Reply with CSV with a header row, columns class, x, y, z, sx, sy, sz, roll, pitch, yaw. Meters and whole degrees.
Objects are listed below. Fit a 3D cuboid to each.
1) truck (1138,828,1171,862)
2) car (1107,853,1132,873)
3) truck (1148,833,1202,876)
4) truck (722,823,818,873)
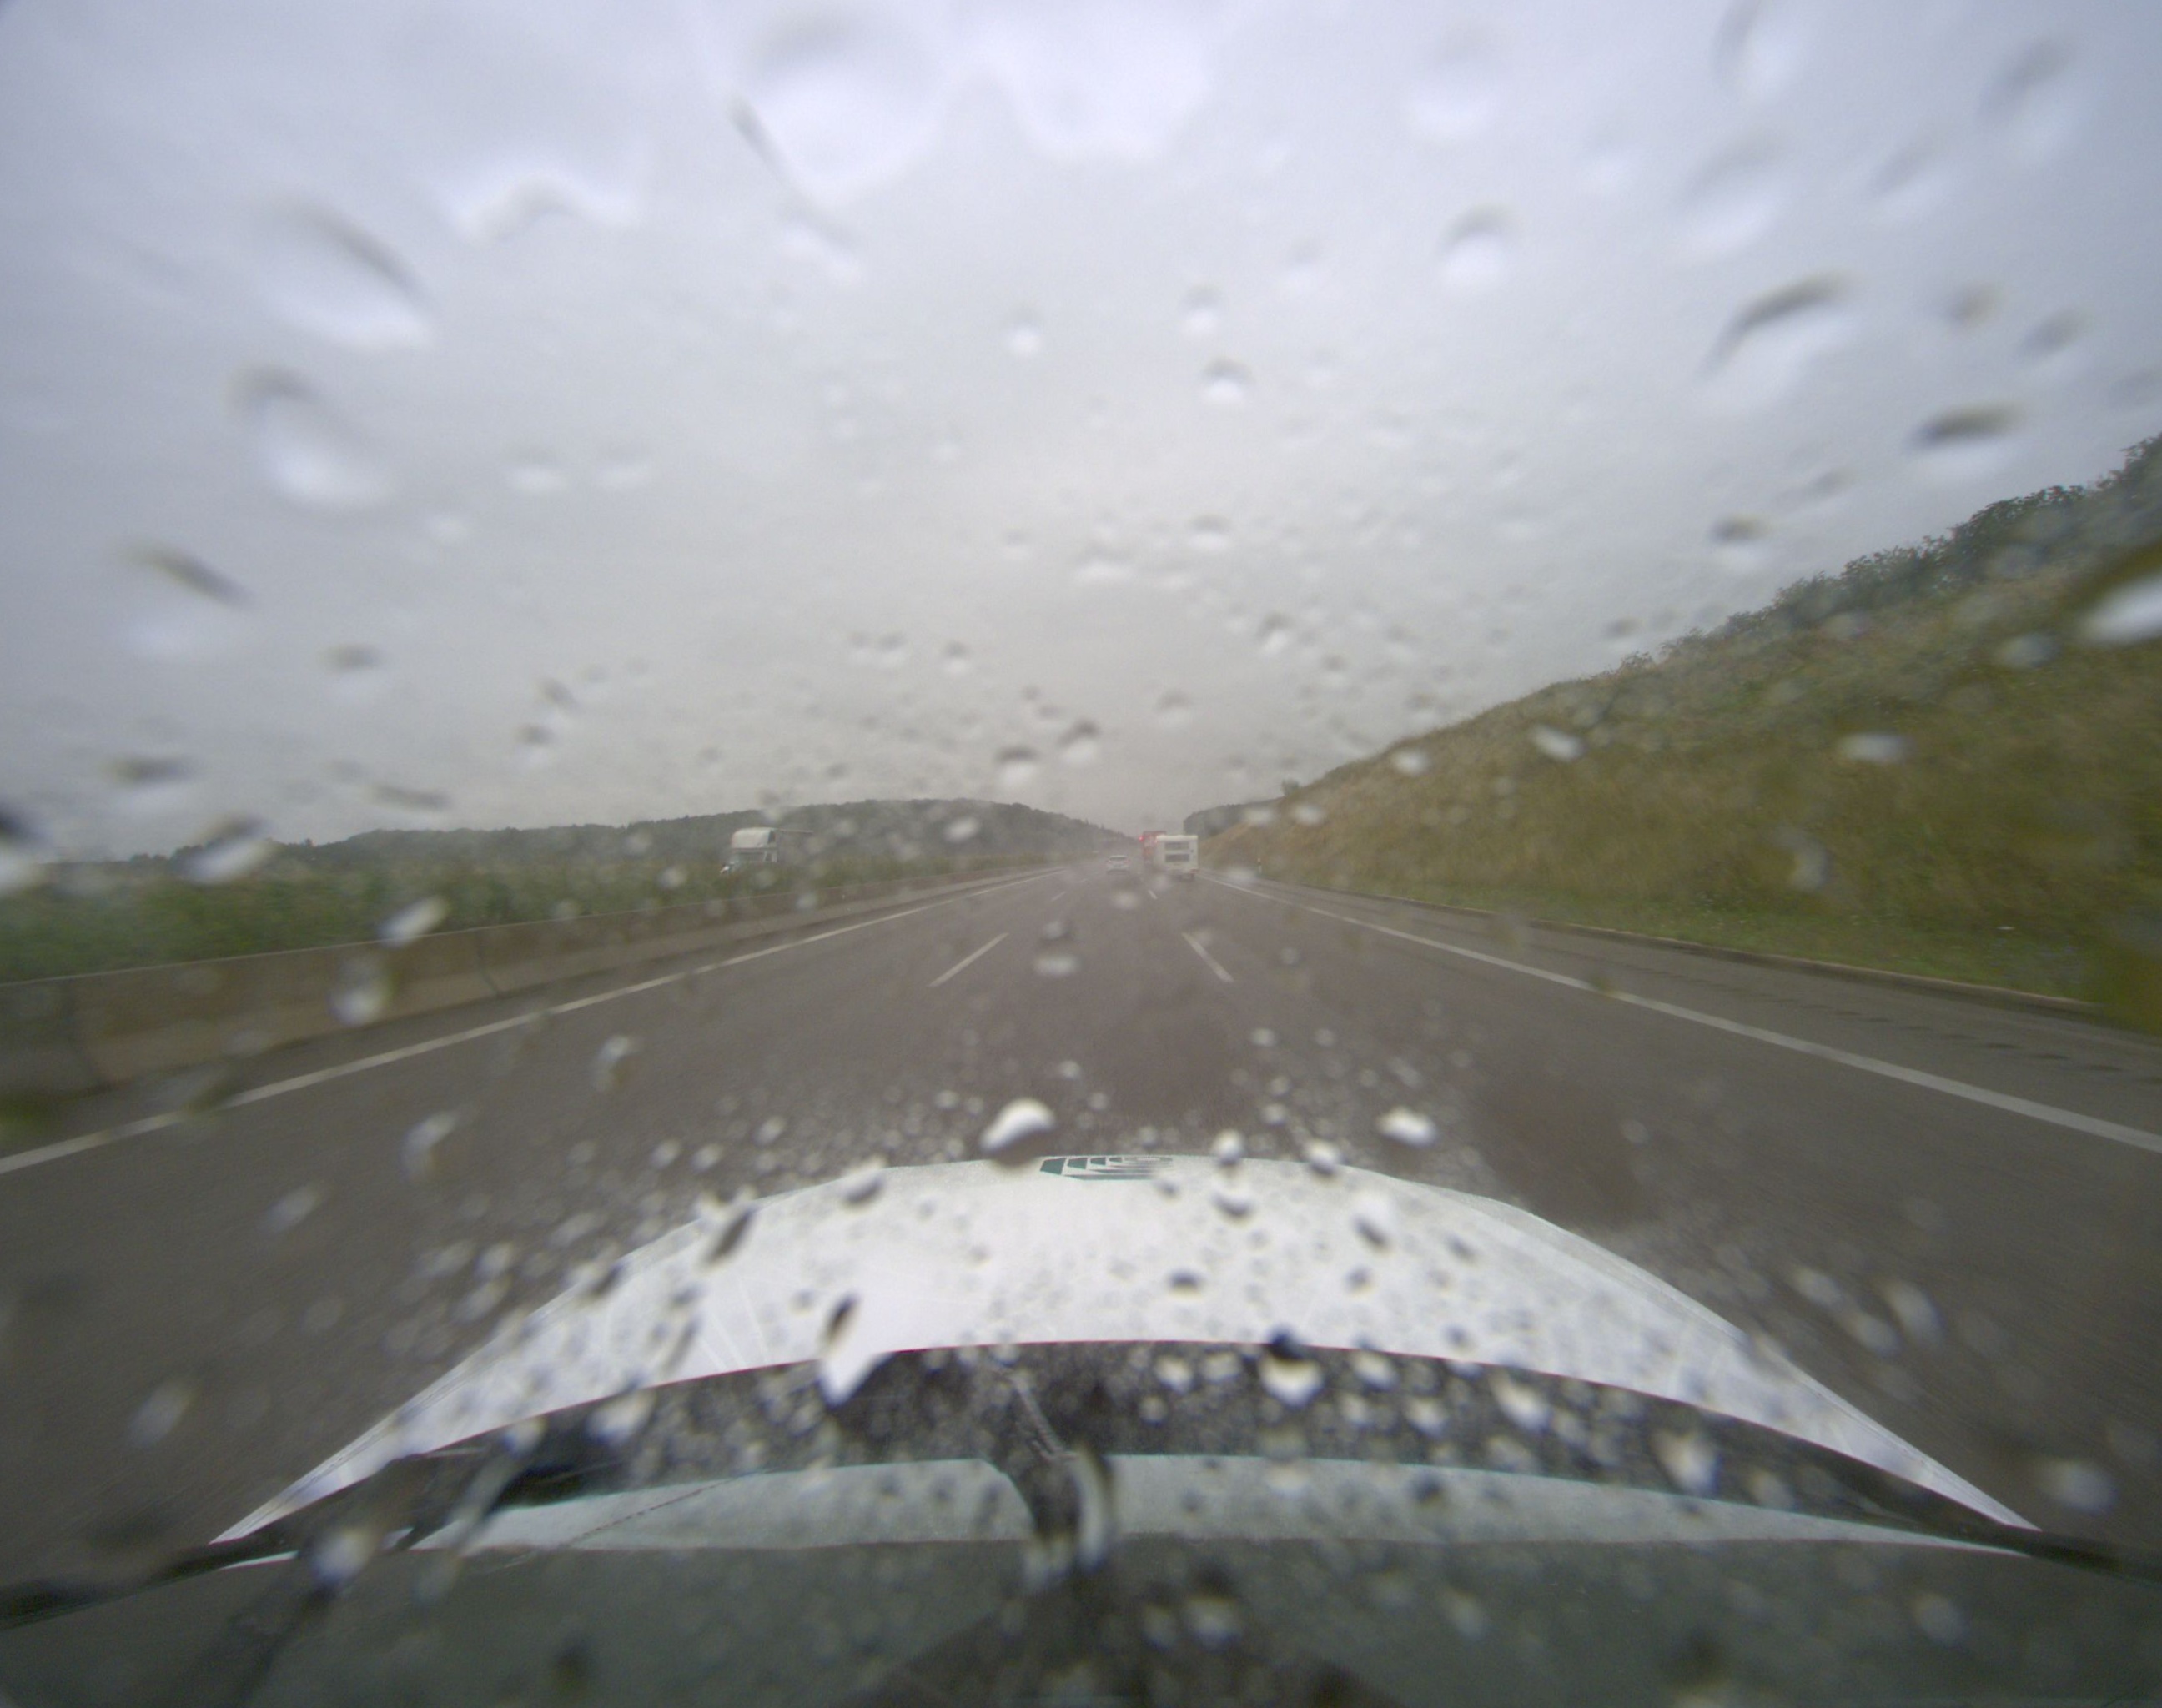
class,x,y,z,sx,sy,sz,roll,pitch,yaw
truck,8.597,-1.063,95.083,3.510,3.743,11.443,0,0,5
car,2.945,0.700,62.640,1.860,1.463,4.001,-1,-1,2
truck,5.238,0.039,45.920,2.400,2.252,4.691,-1,0,-1
truck,-16.802,-0.218,44.481,2.163,2.447,6.800,-1,-2,4
